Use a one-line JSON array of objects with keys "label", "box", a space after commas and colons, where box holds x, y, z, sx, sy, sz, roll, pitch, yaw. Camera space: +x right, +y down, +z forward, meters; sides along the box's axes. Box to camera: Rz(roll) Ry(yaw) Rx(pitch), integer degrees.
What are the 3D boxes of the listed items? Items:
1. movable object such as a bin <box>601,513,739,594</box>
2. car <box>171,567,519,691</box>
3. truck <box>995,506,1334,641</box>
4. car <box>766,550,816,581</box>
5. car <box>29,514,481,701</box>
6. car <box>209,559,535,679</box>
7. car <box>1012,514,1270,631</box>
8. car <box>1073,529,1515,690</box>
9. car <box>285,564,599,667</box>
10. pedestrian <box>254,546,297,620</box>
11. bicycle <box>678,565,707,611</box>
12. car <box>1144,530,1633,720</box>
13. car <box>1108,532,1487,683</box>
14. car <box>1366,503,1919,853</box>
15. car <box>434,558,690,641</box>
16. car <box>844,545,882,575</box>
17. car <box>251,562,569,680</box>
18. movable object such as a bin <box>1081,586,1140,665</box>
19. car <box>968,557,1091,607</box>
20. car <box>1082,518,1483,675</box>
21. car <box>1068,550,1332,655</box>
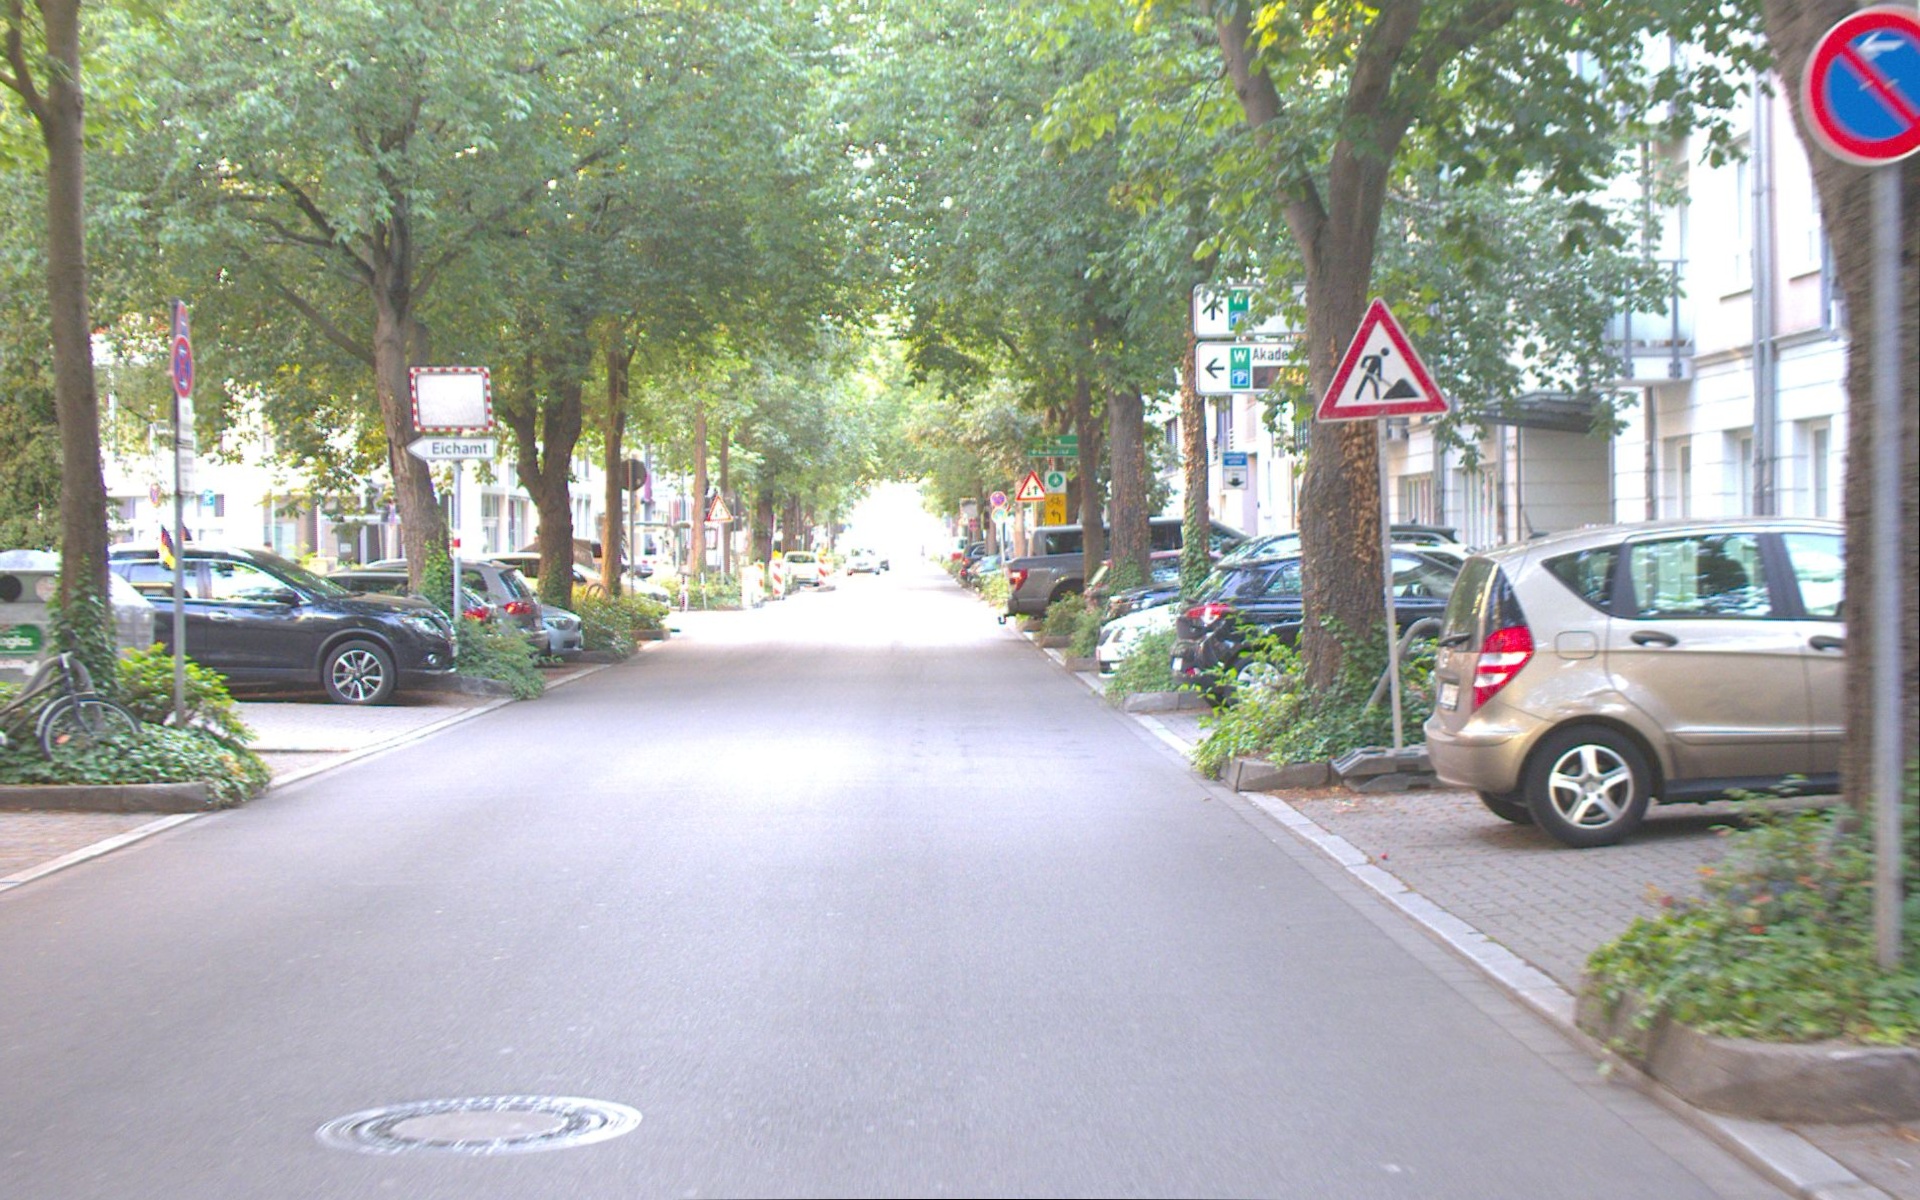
[{"label": "movable object such as a bin", "box": [-8.765, -1.410, 103.751, 4.045, 2.375, 2.785, -1, 1, -6]}, {"label": "car", "box": [-7.524, 0.339, 42.360, 3.986, 1.459, 1.922, 0, 1, -2]}, {"label": "truck", "box": [3.580, -0.471, 61.170, 5.887, 2.303, 2.212, -1, 1, 0]}, {"label": "car", "box": [-7.341, -1.492, 148.884, 1.993, 1.284, 4.001, -1, 1, -5]}, {"label": "car", "box": [-7.546, 0.065, 37.134, 4.504, 1.949, 2.000, 0, 1, -2]}, {"label": "car", "box": [-7.606, 0.228, 44.740, 3.986, 1.485, 1.826, 0, 1, -3]}, {"label": "car", "box": [3.327, -0.520, 63.911, 4.600, 2.059, 2.198, -1, 1, -2]}, {"label": "car", "box": [3.631, 0.092, 37.959, 4.599, 1.463, 1.796, -3, 1, -1]}, {"label": "car", "box": [-7.493, 0.214, 50.035, 4.287, 1.425, 1.879, 0, 1, -1]}, {"label": "pedestrian", "box": [-17.206, -0.438, 86.439, 0.887, 1.844, 0.876, -1, 1, 0]}, {"label": "bicycle", "box": [-6.957, -0.314, 89.243, 0.683, 1.149, 1.981, -1, 1, -6]}, {"label": "car", "box": [3.918, 0.207, 31.873, 4.082, 1.446, 1.935, -4, 1, -6]}, {"label": "car", "box": [3.927, 0.075, 40.543, 4.224, 1.433, 1.929, -4, 1, 1]}, {"label": "car", "box": [4.262, 0.329, 17.889, 3.969, 1.580, 1.916, -3, 1, -1]}, {"label": "car", "box": [-7.593, -0.024, 65.912, 4.619, 1.547, 2.075, 0, 1, 2]}, {"label": "car", "box": [-5.308, -2.191, 187.934, 2.009, 1.607, 4.120, 0, 1, -2]}, {"label": "car", "box": [-7.545, 0.275, 47.407, 3.987, 1.560, 1.929, 0, 1, 5]}, {"label": "movable object such as a bin", "box": [2.140, 0.359, 48.993, 0.760, 1.080, 0.785, -2, 1, 0]}, {"label": "car", "box": [2.265, -0.585, 112.580, 3.987, 1.579, 2.000, -1, 1, 1]}, {"label": "car", "box": [3.999, -0.063, 43.134, 4.641, 1.612, 2.010, -4, 1, -4]}, {"label": "car", "box": [3.567, 0.021, 51.555, 3.776, 1.539, 1.878, 0, 1, -2]}]
